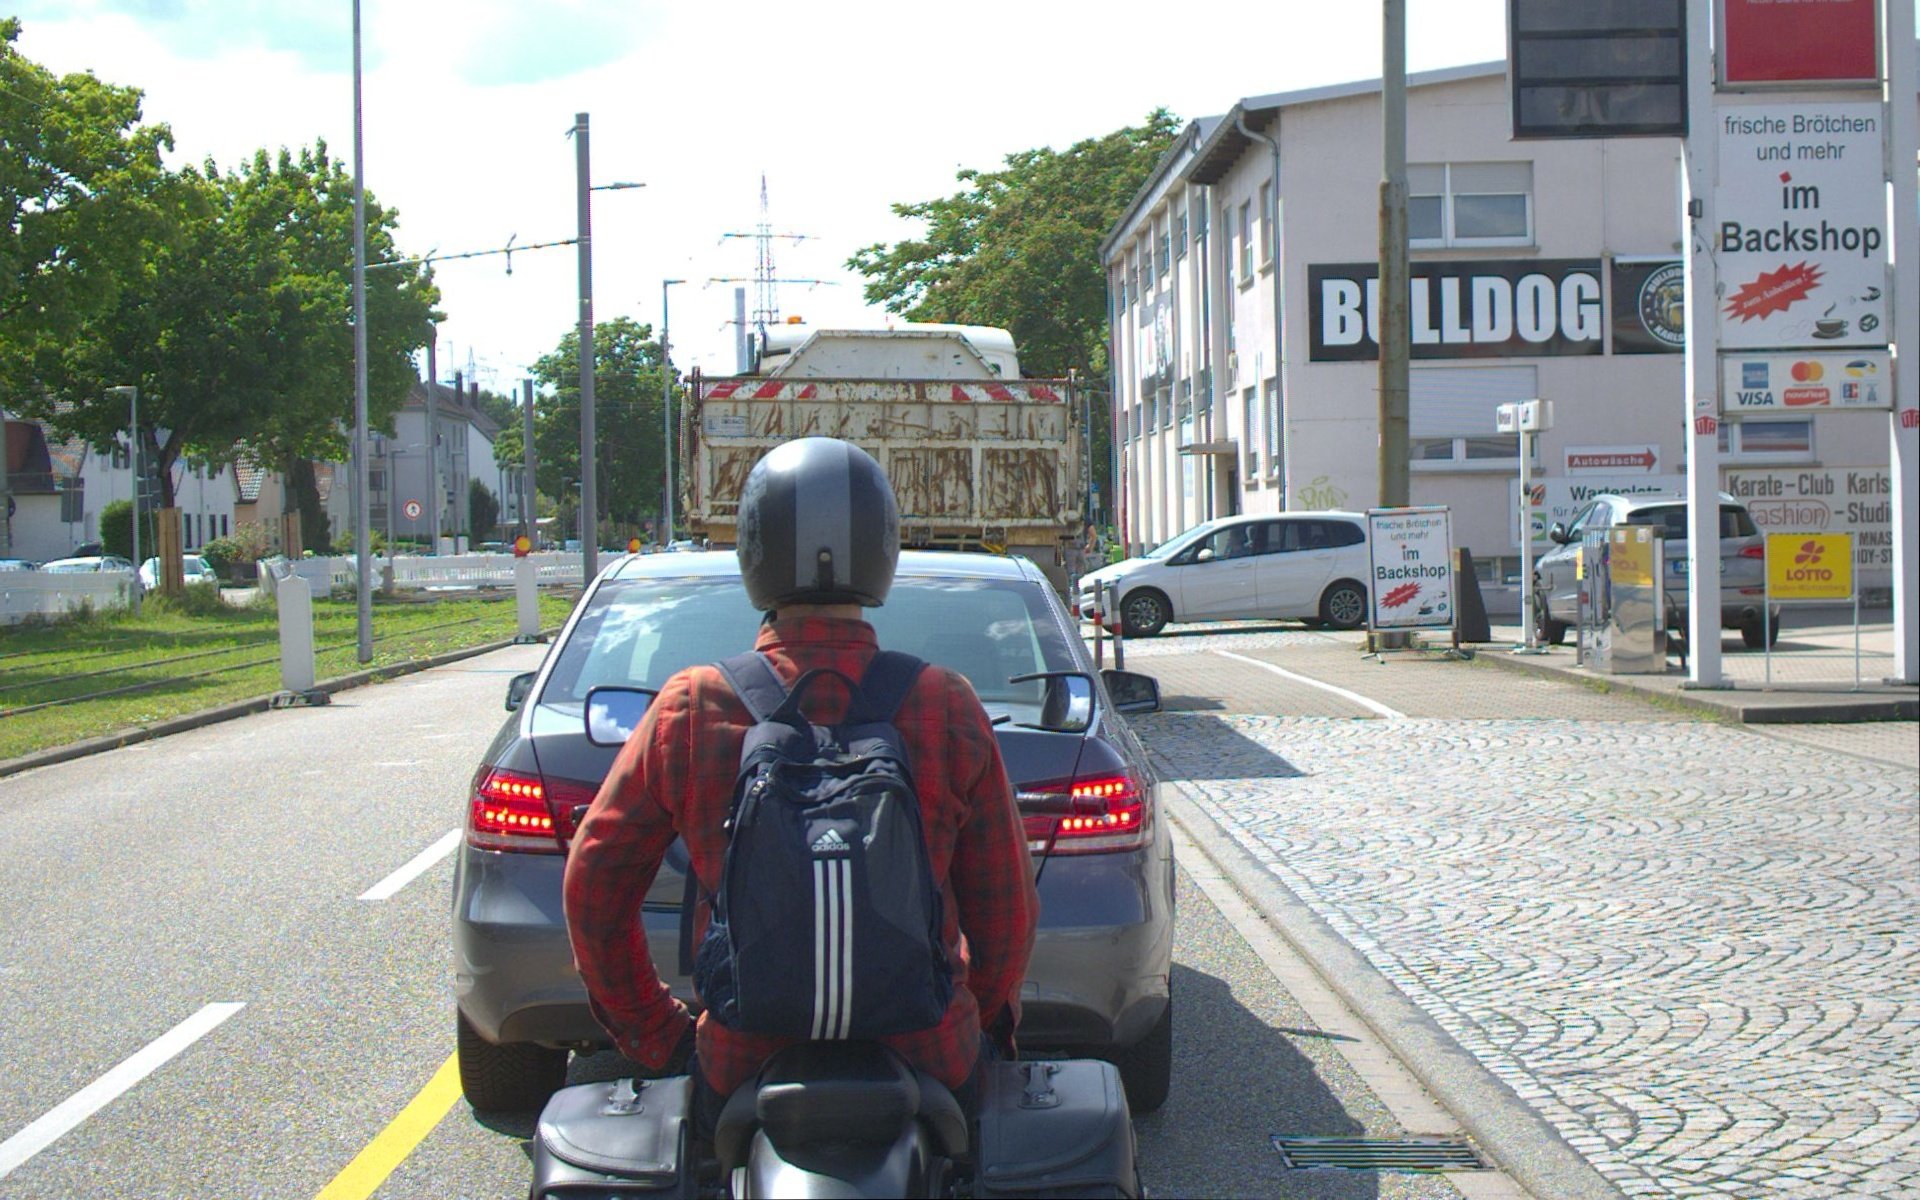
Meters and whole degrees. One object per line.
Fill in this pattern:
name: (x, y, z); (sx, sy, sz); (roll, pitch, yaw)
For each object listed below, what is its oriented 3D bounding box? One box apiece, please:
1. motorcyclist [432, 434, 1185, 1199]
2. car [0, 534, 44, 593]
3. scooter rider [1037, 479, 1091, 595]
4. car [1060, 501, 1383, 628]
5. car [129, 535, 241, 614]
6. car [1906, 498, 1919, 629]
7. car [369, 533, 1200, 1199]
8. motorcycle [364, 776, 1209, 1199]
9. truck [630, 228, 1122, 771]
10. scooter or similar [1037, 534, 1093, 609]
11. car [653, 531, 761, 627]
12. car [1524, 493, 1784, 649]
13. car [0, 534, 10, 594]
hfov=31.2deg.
motorcyclist: (-0.208, 0.590, 5.084); (0.969, 1.627, 1.215); (1, 1, -1)
car: (-29.271, -1.109, 104.587); (1.698, 1.733, 4.062); (-1, 1, 0)
scooter rider: (1.647, -0.994, 54.274); (0.795, 1.812, 0.508); (-1, 1, -1)
car: (3.546, -0.500, 47.031); (4.104, 1.619, 1.686); (-1, 1, -8)
car: (-17.887, -0.614, 79.528); (1.698, 1.733, 3.860); (-1, 1, 0)
car: (11.785, -0.400, 37.243); (1.832, 1.474, 4.010); (-1, 1, -2)
car: (-0.450, 0.575, 9.744); (1.832, 1.474, 4.010); (-1, 1, -2)
motorcycle: (-0.218, 0.865, 5.207); (0.976, 1.010, 2.432); (1, 1, -1)
truck: (-0.637, -0.714, 25.468); (2.970, 3.293, 8.408); (-1, 1, -2)
scooter or similar: (1.659, -0.461, 54.294); (0.795, 1.141, 1.519); (-1, 1, -1)
car: (-4.486, -0.401, 61.421); (1.680, 1.619, 4.119); (-1, 1, -1)
car: (7.321, -0.340, 36.645); (1.832, 1.530, 4.010); (-1, 1, -2)
car: (-28.675, -0.997, 98.576); (1.698, 1.733, 4.062); (-1, 1, 0)
